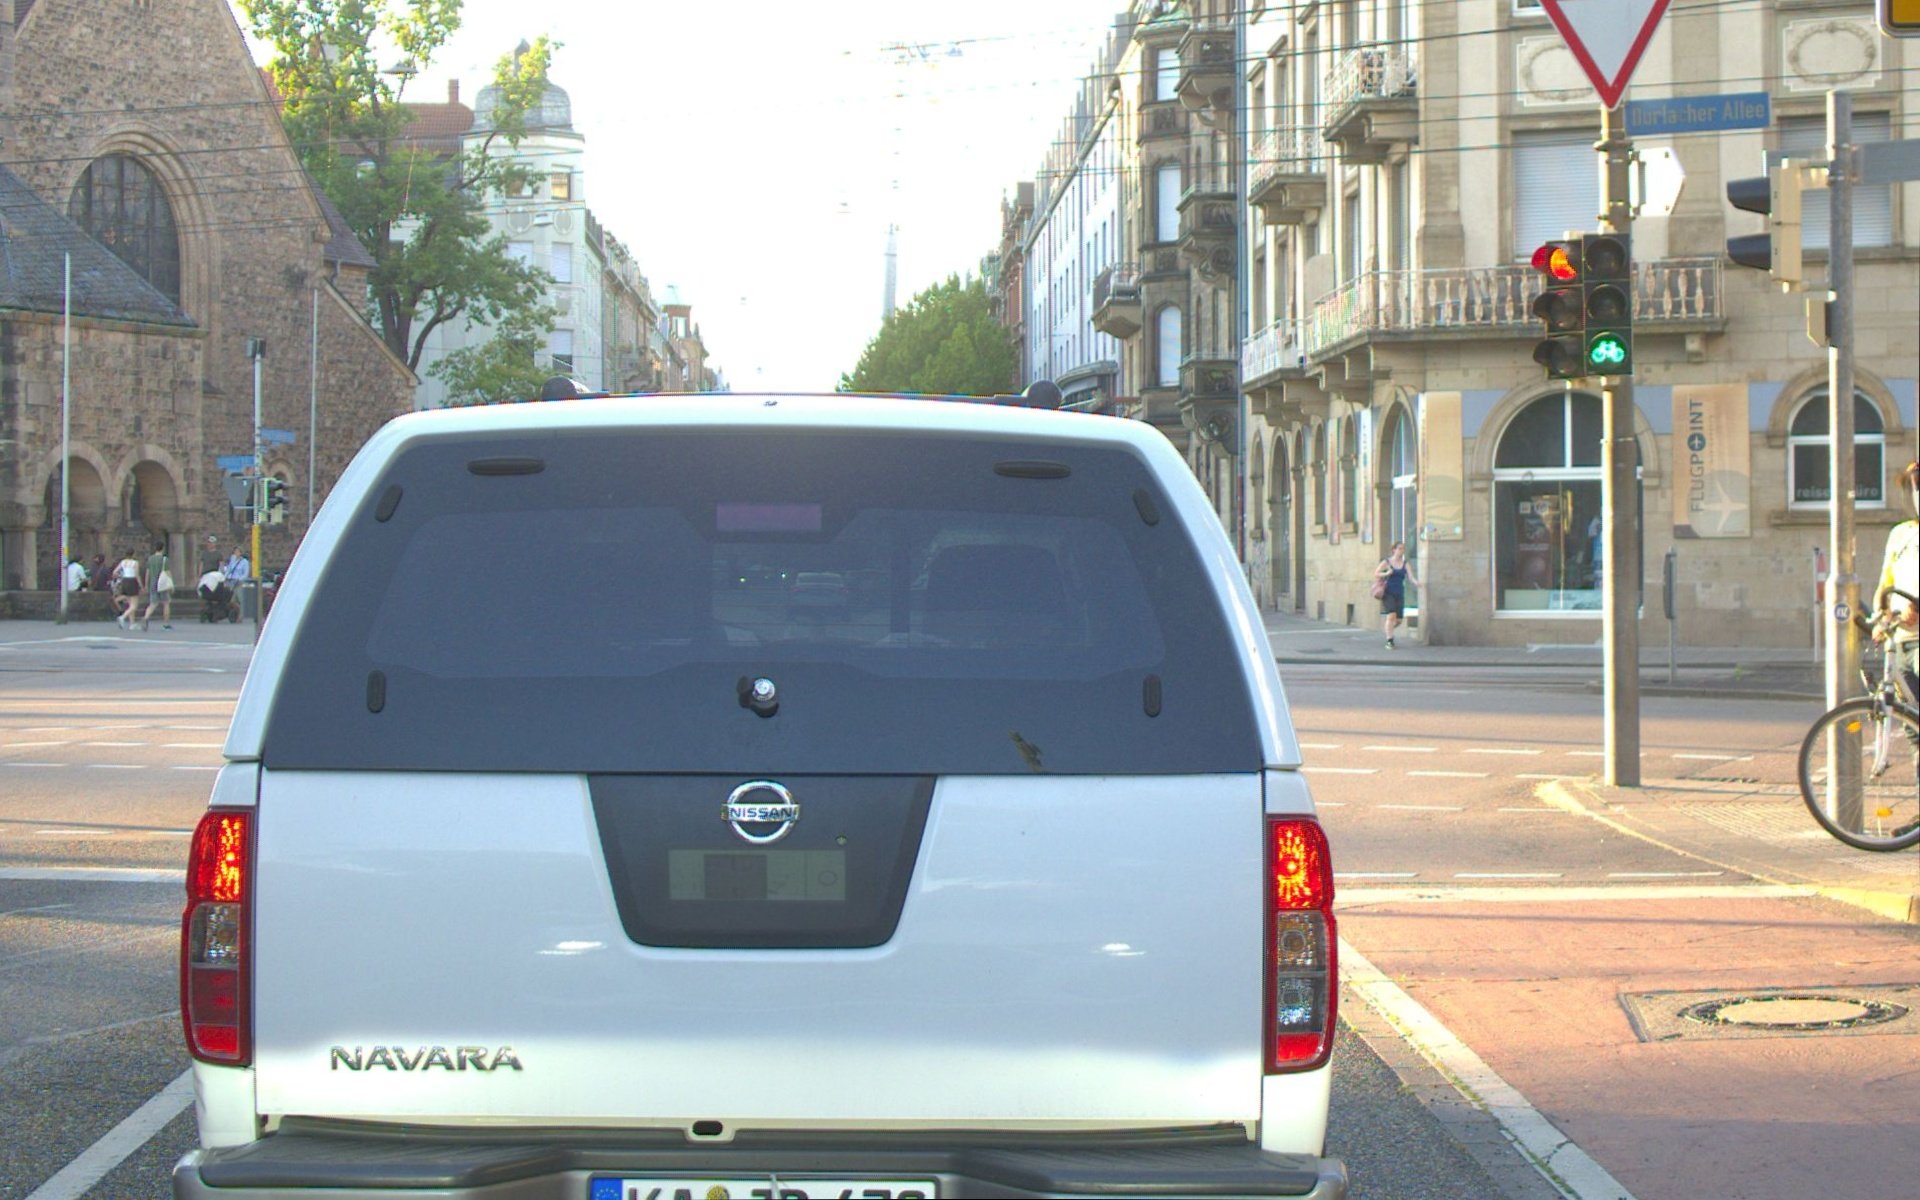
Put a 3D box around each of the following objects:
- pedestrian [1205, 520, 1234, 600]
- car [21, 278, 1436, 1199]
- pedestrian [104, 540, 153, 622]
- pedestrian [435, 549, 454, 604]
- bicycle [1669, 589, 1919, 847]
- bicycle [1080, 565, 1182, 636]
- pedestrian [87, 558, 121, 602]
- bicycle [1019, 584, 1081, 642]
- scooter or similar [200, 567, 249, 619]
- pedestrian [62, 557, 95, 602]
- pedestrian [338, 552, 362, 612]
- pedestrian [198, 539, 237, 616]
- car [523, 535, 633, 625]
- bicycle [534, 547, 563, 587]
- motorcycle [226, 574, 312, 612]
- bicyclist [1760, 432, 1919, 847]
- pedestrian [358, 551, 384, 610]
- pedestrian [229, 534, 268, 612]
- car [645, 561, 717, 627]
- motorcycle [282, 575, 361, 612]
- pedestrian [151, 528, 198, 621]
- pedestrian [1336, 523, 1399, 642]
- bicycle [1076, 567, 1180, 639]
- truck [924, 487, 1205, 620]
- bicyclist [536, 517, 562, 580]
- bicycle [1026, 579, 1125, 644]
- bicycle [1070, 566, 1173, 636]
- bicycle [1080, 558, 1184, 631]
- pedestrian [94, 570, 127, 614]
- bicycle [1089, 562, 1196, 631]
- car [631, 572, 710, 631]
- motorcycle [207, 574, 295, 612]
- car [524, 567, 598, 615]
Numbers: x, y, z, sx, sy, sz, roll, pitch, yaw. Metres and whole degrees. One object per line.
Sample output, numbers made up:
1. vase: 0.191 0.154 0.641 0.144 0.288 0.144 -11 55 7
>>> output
1. pedestrian: 5.412 -0.828 71.713 0.527 1.649 0.547 1 0 -1
2. car: -0.356 0.455 6.901 1.993 1.803 4.000 1 0 -1
3. pedestrian: -17.038 -0.385 70.444 0.812 1.664 0.860 1 0 -3
4. pedestrian: -15.974 -0.727 106.580 0.560 1.690 0.645 1 0 -8
5. bicycle: 4.197 0.515 15.575 2.065 1.106 0.628 1 0 -33
6. bicycle: 3.210 0.013 64.613 1.817 1.233 0.412 -3 0 -2
7. pedestrian: -18.597 -0.438 74.691 0.522 0.957 0.479 1 0 19
8. bicycle: 1.667 0.239 63.583 1.076 1.021 0.317 -3 0 -2
9. scooter or similar: -16.085 -0.148 75.224 0.634 1.099 1.077 -1 -1 14
10. pedestrian: -19.223 -0.447 74.966 0.522 0.957 0.479 1 0 19
11. pedestrian: -17.294 -0.519 97.520 0.642 1.690 0.562 1 0 -9
12. pedestrian: -16.473 -0.500 76.261 0.634 1.693 0.602 1 0 11
13. car: -8.152 -0.460 73.759 1.993 1.778 4.798 1 2 -2
14. bicycle: -10.959 -0.883 91.481 0.599 1.040 1.946 1 0 -11
15. motorcycle: -18.832 -0.186 93.720 2.243 0.984 0.708 1 0 -6
16. bicyclist: 4.098 0.172 15.505 0.696 1.818 0.628 1 0 -33
17. pedestrian: -17.103 -0.562 99.822 0.642 1.690 0.562 1 0 -1
18. pedestrian: -15.746 -0.596 76.097 0.634 1.693 0.602 1 0 10
19. car: -8.710 -0.182 107.617 1.993 2.007 4.951 -1 0 -2
20. motorcycle: -17.836 -0.179 96.010 2.167 0.984 0.593 1 0 19
21. pedestrian: -16.092 -0.516 70.425 0.812 1.894 0.666 1 0 -3
22. pedestrian: 6.122 -0.269 51.644 0.788 1.773 0.543 1 0 25
23. bicycle: 3.118 0.048 63.887 1.817 1.233 0.478 -3 0 -2
24. truck: 2.139 -0.902 68.790 5.658 2.556 2.286 0 1 -44
25. bicyclist: -10.937 -1.361 91.390 0.599 1.639 0.963 1 0 -11
26. bicycle: 2.102 0.202 62.700 1.726 1.080 0.317 -3 0 -2
27. bicycle: 3.080 0.011 65.750 1.855 1.233 0.531 -3 0 -2
28. bicycle: 3.158 -0.097 63.176 1.817 1.233 0.488 -3 0 -2
29. pedestrian: -18.740 -0.169 75.863 0.478 0.957 0.522 1 0 29
30. bicycle: 3.293 -0.066 62.236 1.817 1.146 0.636 -3 0 -2
31. car: -8.077 0.065 96.342 1.993 1.553 4.769 0 -1 -2
32. motorcycle: -18.903 -0.182 91.692 2.243 0.984 0.708 1 0 -6
33. car: -12.003 -0.286 103.584 1.858 1.393 4.000 1 0 -1
